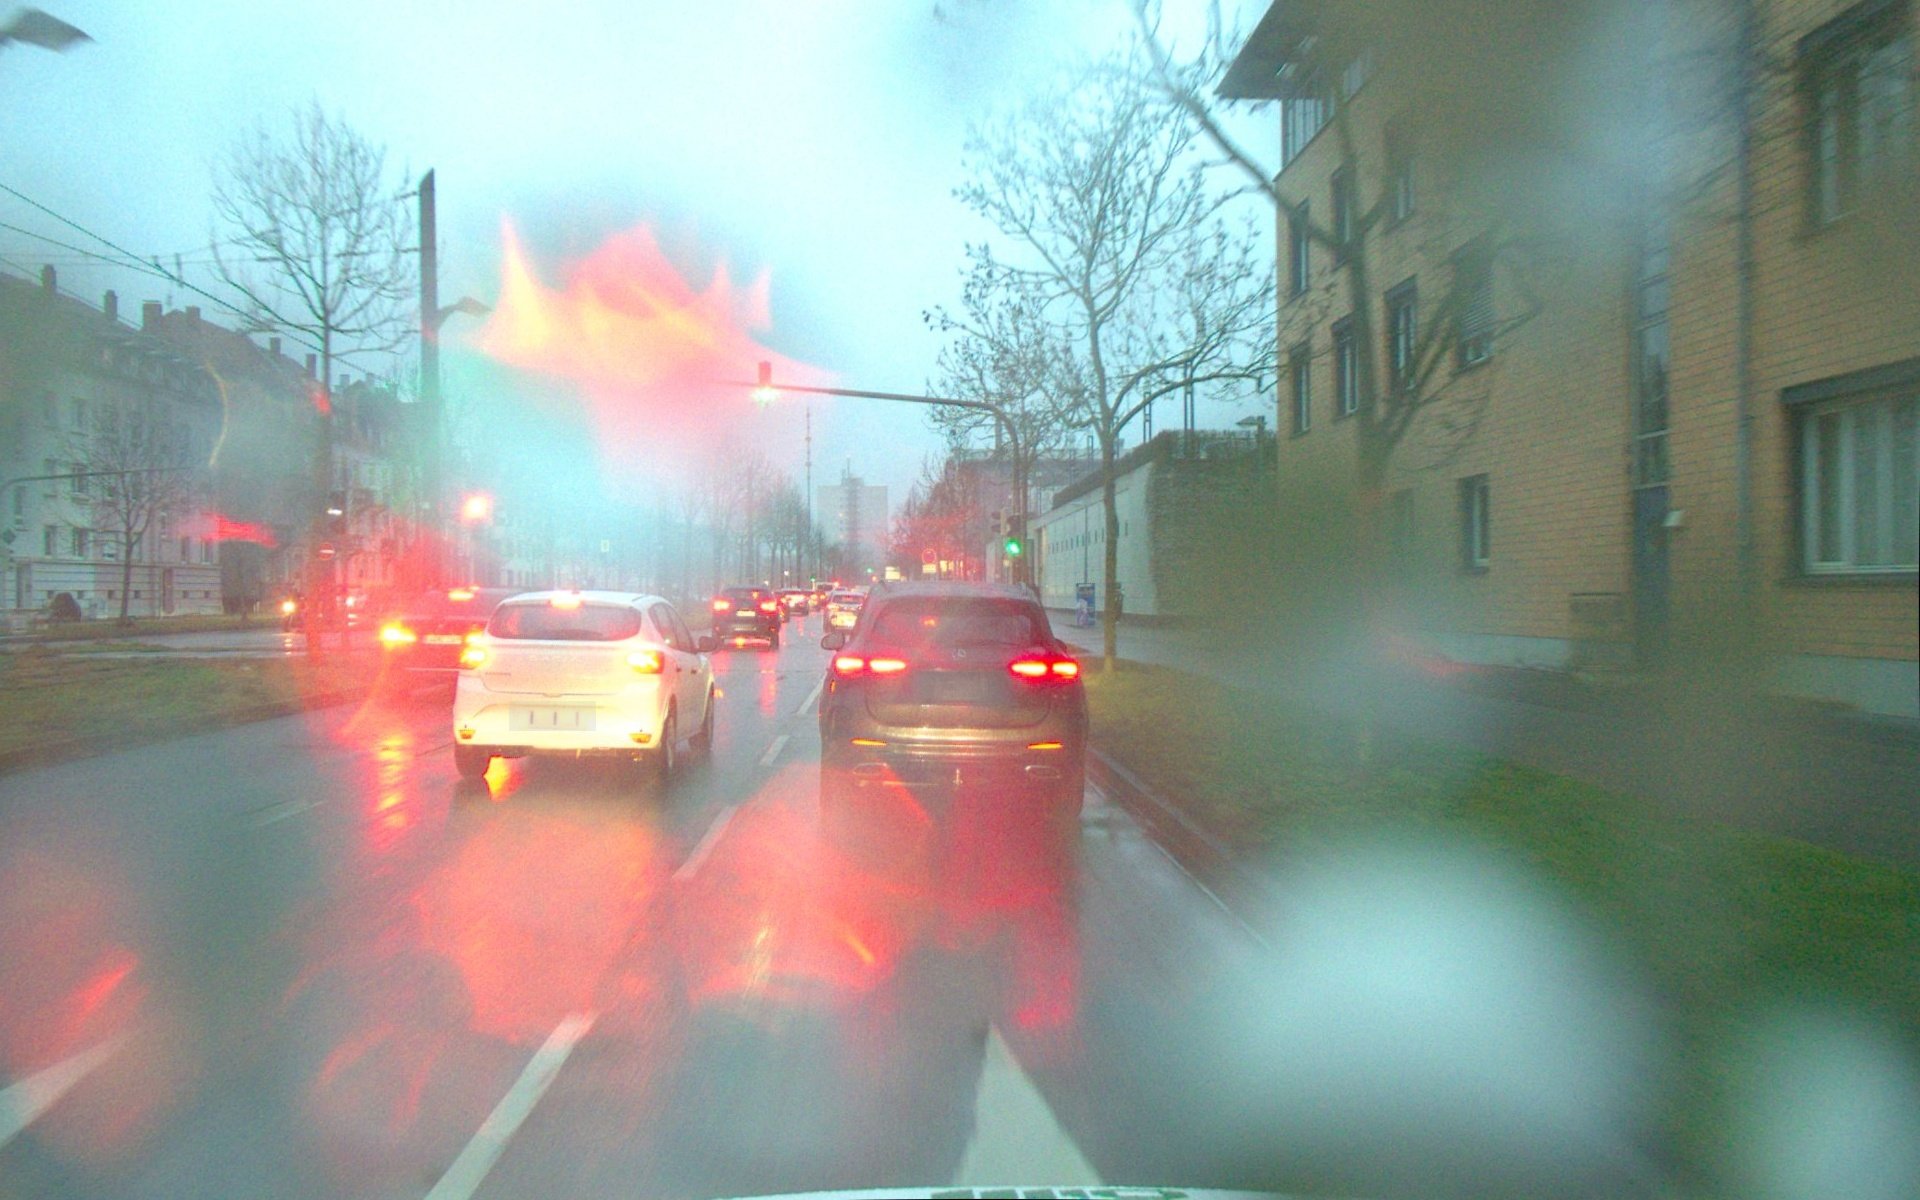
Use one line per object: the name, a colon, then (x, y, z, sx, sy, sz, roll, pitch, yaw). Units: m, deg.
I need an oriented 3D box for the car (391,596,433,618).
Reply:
car: (-36.103, 0.434, 109.082, 1.741, 1.377, 3.554, -1, 1, -3)

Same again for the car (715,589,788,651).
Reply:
car: (-5.733, 0.520, 45.774, 1.638, 1.628, 4.052, 0, 0, -2)

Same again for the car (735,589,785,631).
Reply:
car: (-7.951, 0.381, 66.102, 1.638, 1.628, 4.052, 0, 0, -2)

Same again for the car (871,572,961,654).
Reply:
car: (-1.040, 0.282, 38.329, 1.953, 1.774, 3.998, -1, 0, -2)

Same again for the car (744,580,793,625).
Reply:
car: (-9.203, 0.132, 79.701, 1.953, 2.049, 3.999, 1, -1, -1)

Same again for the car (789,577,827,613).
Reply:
car: (-9.058, -0.255, 98.598, 1.953, 2.049, 3.999, 1, -1, -1)

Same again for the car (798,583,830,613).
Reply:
car: (-10.328, -0.125, 117.111, 1.953, 2.049, 3.999, 1, -1, -1)

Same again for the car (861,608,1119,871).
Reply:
car: (0.117, 0.895, 12.535, 1.638, 1.628, 4.052, 0, 0, -2)

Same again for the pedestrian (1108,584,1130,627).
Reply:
pedestrian: (6.103, 0.217, 63.560, 0.609, 1.639, 1.065, -1, 0, -6)

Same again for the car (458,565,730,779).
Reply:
car: (-3.072, 0.546, 14.639, 1.638, 1.628, 4.052, 0, 0, -2)
